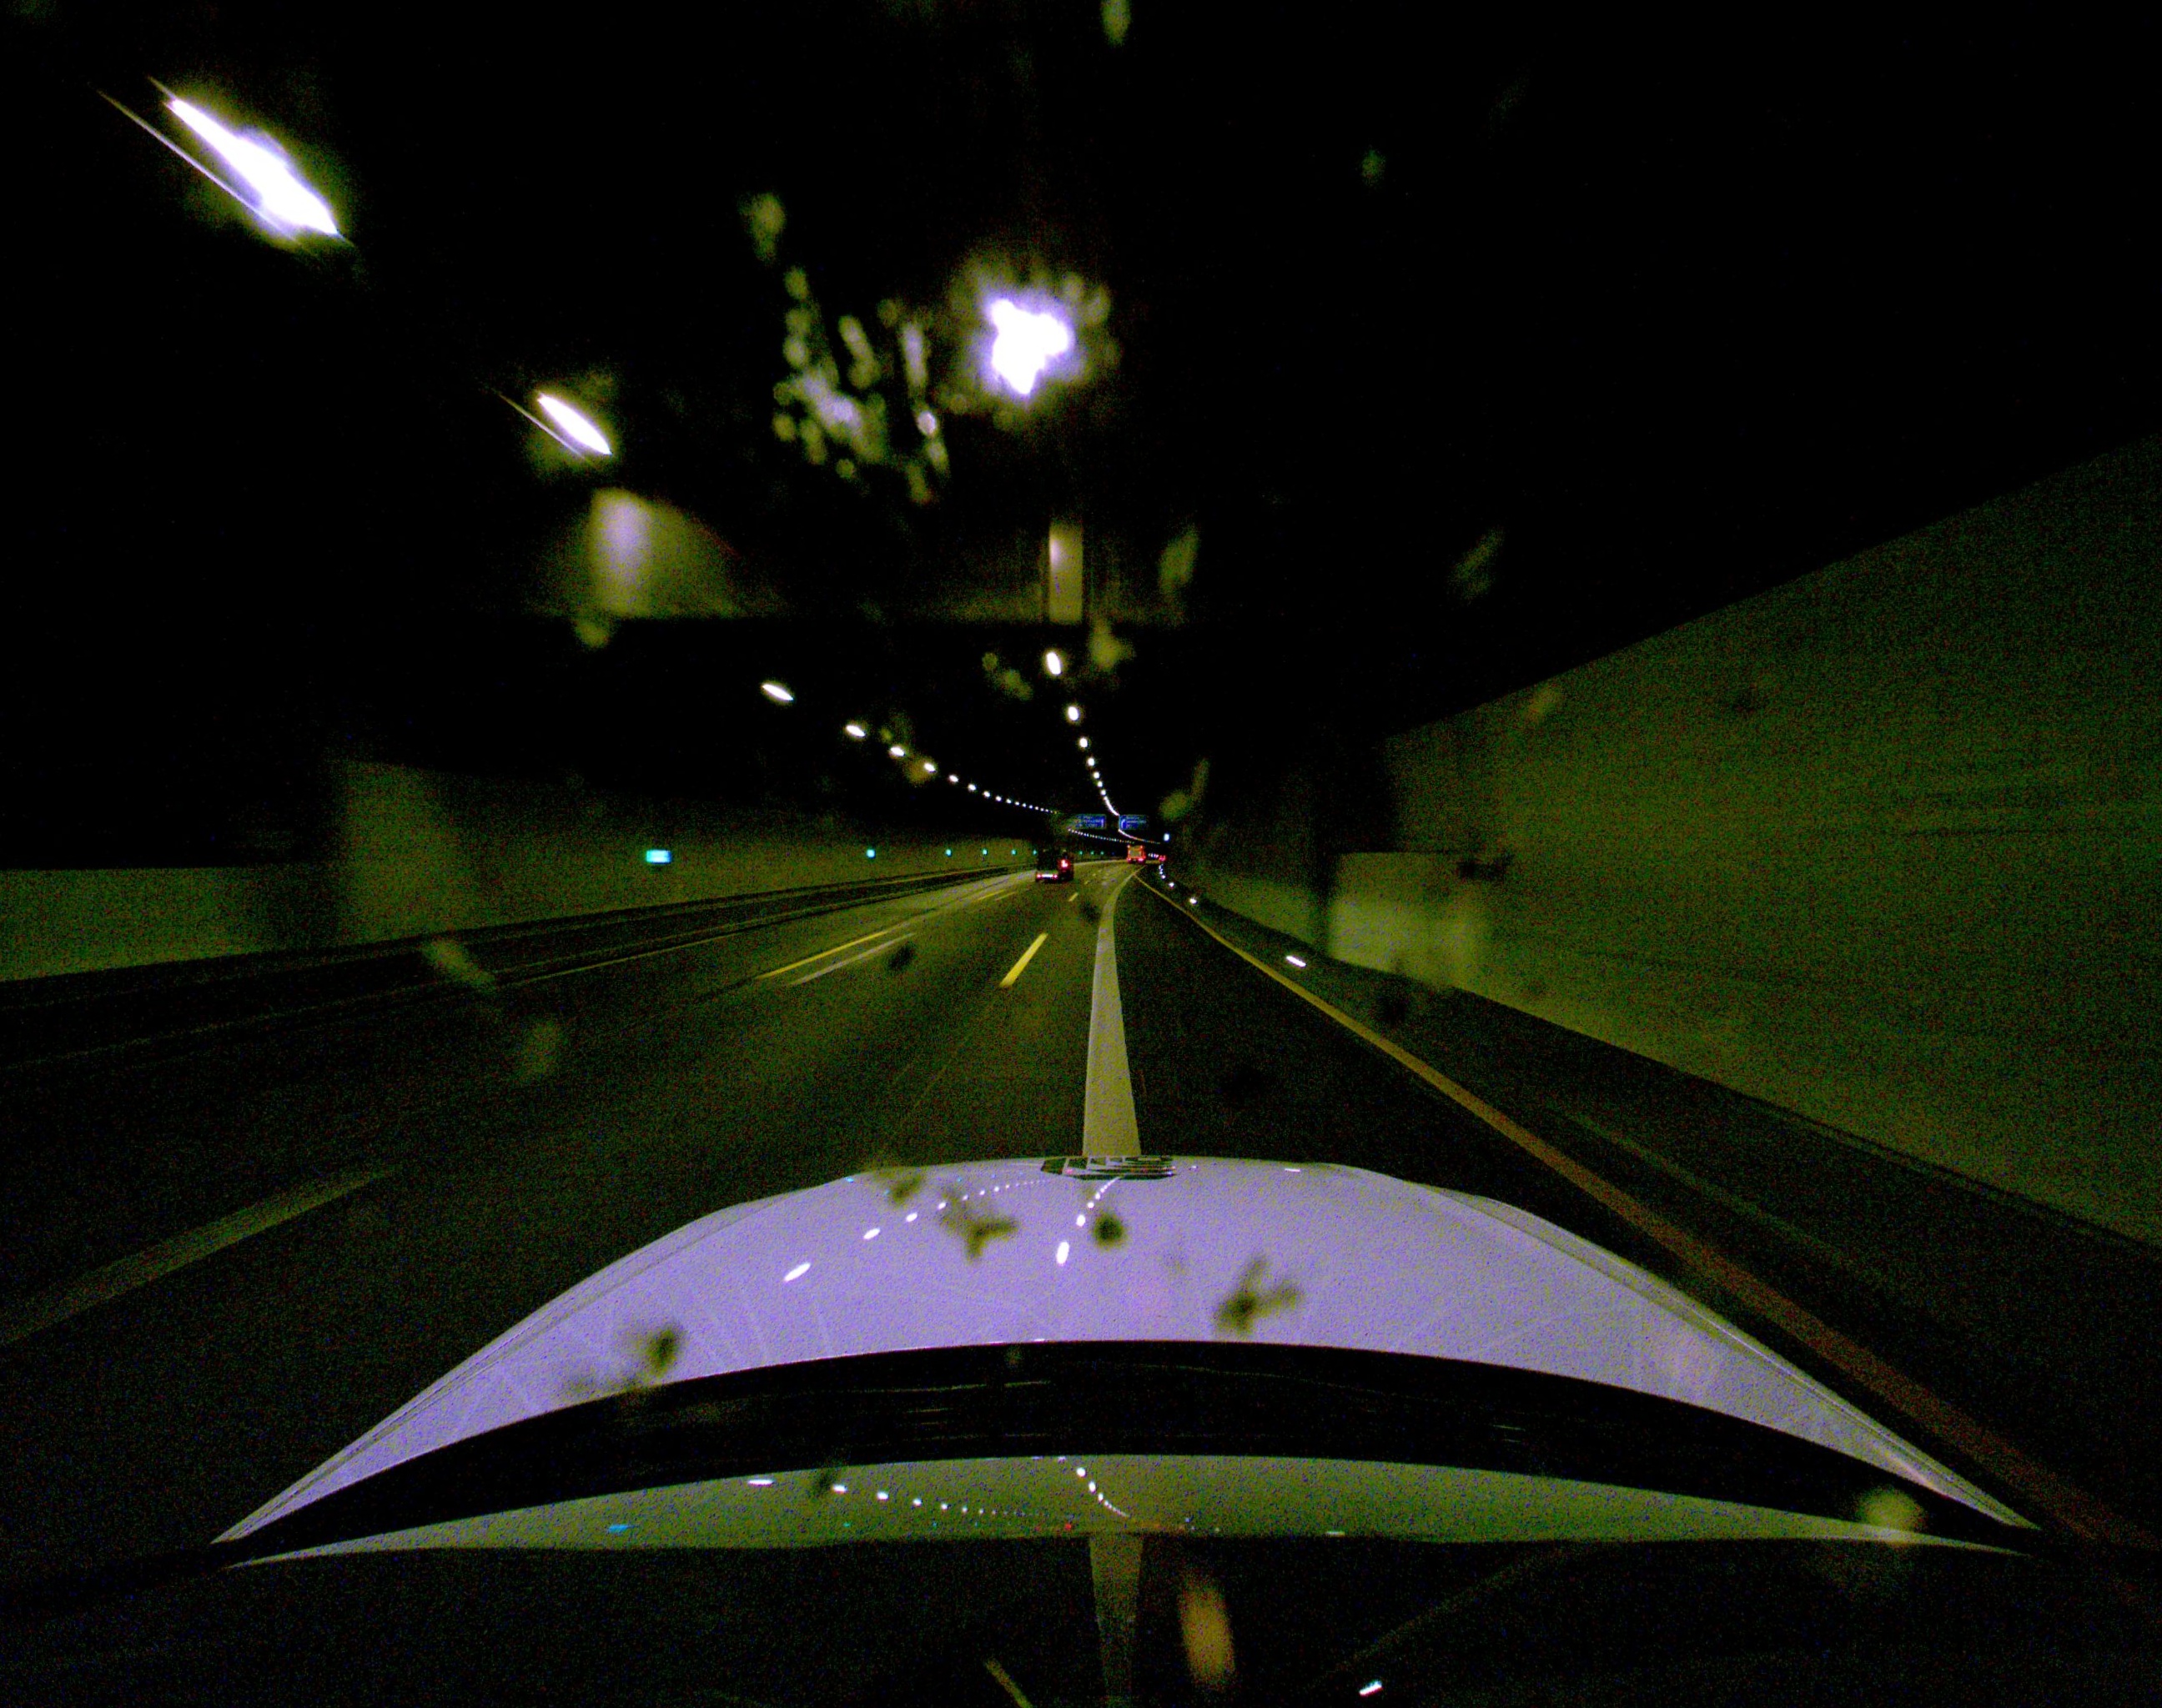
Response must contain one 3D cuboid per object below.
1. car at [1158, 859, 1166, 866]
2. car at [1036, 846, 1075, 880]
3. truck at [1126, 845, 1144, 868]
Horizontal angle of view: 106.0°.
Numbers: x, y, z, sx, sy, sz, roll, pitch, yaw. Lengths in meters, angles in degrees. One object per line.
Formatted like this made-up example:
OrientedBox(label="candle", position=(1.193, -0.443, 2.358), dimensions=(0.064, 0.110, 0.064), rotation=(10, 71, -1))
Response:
OrientedBox(label="car", position=(22.113, 2.238, 223.206), dimensions=(1.983, 1.895, 5.543), rotation=(0, 0, 7))
OrientedBox(label="car", position=(-1.523, 0.611, 50.529), dimensions=(1.985, 1.895, 5.456), rotation=(0, -2, 3))
OrientedBox(label="truck", position=(10.856, 0.440, 163.581), dimensions=(3.458, 4.316, 10.965), rotation=(1, 0, 4))
